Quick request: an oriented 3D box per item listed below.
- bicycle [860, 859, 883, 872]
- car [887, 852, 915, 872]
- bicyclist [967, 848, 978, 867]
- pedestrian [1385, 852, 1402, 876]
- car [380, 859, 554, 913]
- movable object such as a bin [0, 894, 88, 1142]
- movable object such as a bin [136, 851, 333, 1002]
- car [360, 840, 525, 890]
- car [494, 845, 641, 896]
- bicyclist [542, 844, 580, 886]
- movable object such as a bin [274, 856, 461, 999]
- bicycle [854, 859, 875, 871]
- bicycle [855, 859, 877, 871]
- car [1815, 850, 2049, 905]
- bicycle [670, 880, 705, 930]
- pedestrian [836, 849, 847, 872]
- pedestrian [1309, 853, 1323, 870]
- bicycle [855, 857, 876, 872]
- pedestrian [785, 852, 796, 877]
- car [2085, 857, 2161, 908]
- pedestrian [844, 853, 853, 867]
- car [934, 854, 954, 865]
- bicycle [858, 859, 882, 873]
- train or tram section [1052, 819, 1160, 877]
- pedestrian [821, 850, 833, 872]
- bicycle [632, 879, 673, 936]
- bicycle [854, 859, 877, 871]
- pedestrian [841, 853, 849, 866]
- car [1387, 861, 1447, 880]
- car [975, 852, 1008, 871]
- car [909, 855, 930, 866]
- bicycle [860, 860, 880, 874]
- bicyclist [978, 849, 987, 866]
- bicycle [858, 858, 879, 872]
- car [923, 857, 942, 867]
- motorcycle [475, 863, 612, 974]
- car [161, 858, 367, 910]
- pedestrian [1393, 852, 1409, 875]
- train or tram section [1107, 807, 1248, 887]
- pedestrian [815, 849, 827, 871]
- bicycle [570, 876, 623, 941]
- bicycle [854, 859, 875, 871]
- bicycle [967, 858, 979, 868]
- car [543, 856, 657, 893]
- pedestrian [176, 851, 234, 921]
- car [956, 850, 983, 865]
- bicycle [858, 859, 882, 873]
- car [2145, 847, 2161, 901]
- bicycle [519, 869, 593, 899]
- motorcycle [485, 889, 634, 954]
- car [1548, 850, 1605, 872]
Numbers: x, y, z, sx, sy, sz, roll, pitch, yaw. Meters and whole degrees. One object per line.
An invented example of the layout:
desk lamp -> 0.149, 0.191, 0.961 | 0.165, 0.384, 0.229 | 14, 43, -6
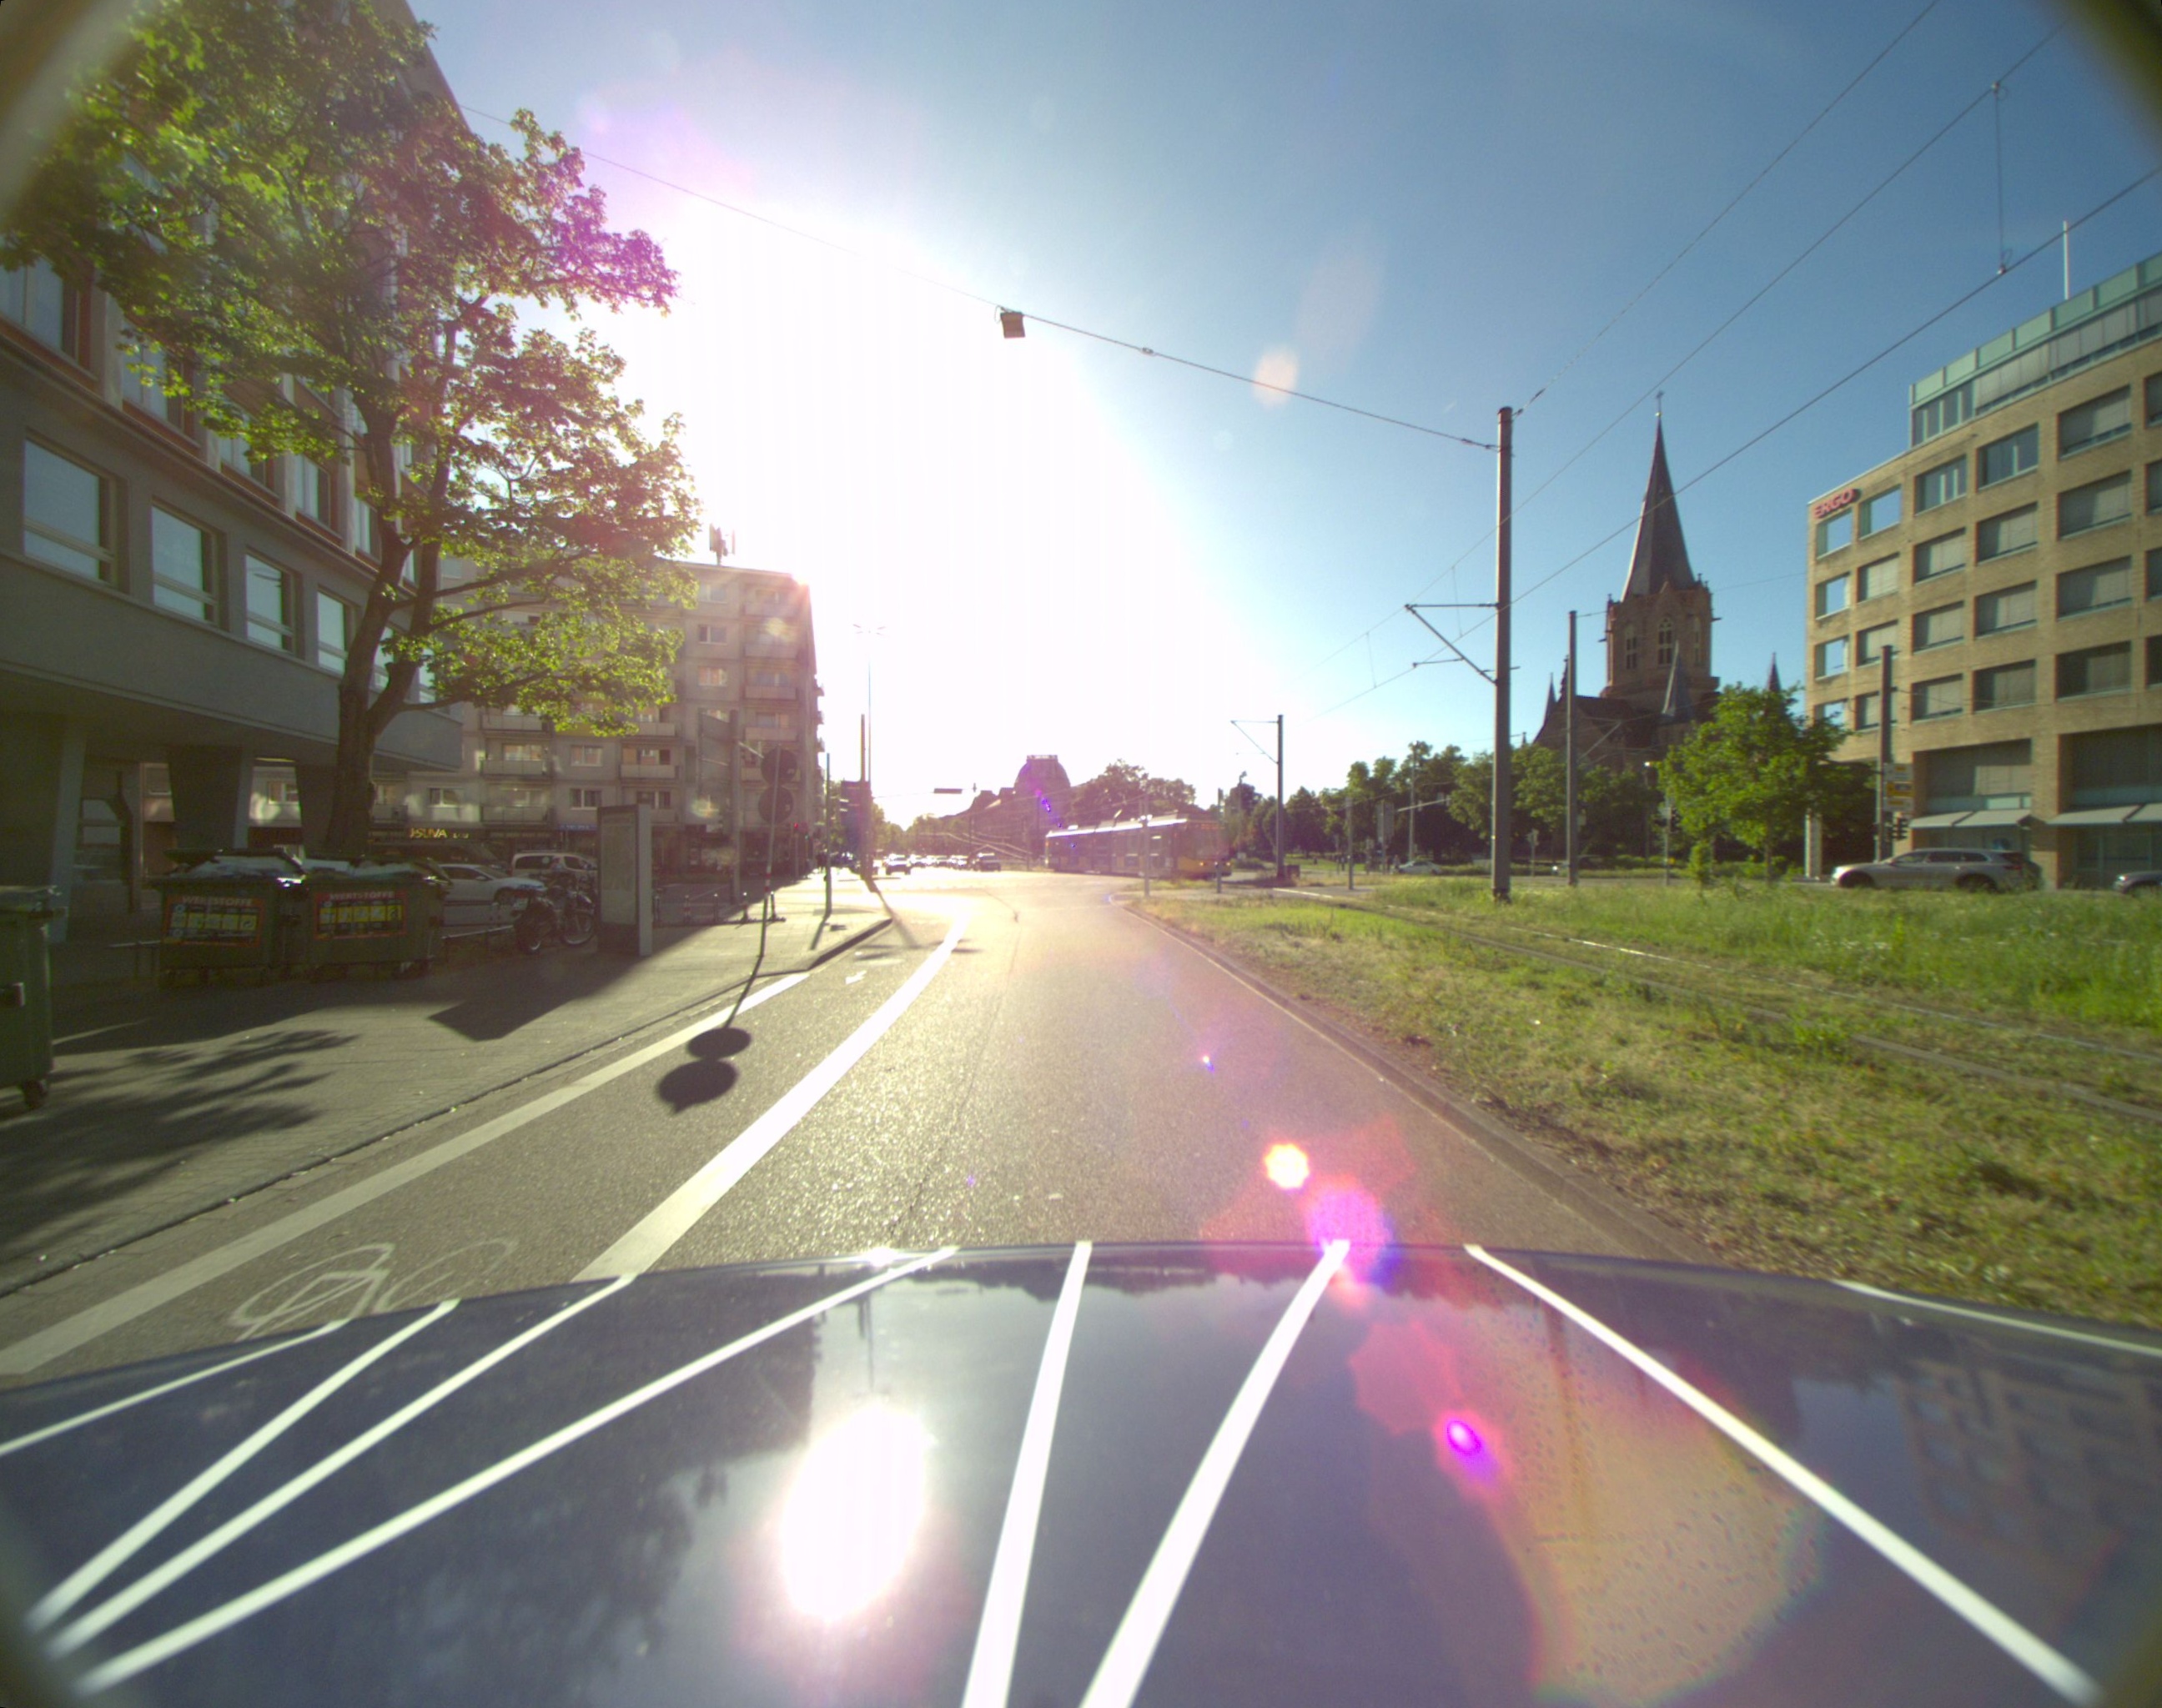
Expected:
bicycle -> -16.470, 0.927, 59.709 | 1.707, 1.005, 0.410 | 1, 1, -22
car -> -15.527, 0.658, 65.430 | 1.904, 1.677, 4.111 | -1, 0, -19
bicyclist -> -10.435, 0.343, 73.068 | 0.705, 1.720, 0.852 | -3, 2, -24
pedestrian -> 27.111, 0.856, 65.925 | 0.880, 2.002, 0.924 | -2, 2, -18
car -> -20.877, 1.052, 26.063 | 4.167, 1.494, 1.841 | -2, 3, -20
movable object such as a bin -> -6.808, 0.968, 4.214 | 1.283, 1.383, 0.921 | -2, 2, 0
movable object such as a bin -> -10.219, 0.825, 9.252 | 1.261, 1.699, 0.943 | 0, 2, -19
car -> -29.100, 0.460, 34.848 | 5.257, 2.186, 2.374 | 0, 0, -14
car -> -20.970, 0.632, 31.273 | 4.605, 1.840, 1.943 | -2, 2, -19
bicyclist -> -19.988, 0.407, 29.207 | 0.936, 1.551, 0.940 | -2, 2, -20
movable object such as a bin -> -8.924, 0.866, 9.599 | 1.386, 1.630, 1.006 | -1, 1, -19
bicycle -> -19.125, 0.947, 67.135 | 1.826, 1.054, 0.414 | 0, 1, -22
bicycle -> -18.930, 0.979, 66.784 | 1.826, 1.054, 0.414 | -1, 1, -23
car -> 29.678, 0.751, 26.780 | 2.108, 1.724, 5.077 | -1, 0, -20
bicycle -> -9.012, 1.130, 17.449 | 0.477, 0.979, 2.116 | -2, 2, -22
pedestrian -> -18.883, 0.531, 59.865 | 0.792, 1.767, 0.873 | -1, 1, -19
pedestrian -> 25.428, 0.786, 82.172 | 0.846, 1.836, 1.113 | -2, 2, -21
bicycle -> -18.820, 0.911, 66.381 | 1.785, 1.222, 0.414 | 0, 1, -23
pedestrian -> -20.672, 0.773, 54.109 | 0.569, 1.763, 0.663 | -1, 1, -11
car -> 38.593, 1.021, 25.684 | 2.126, 1.659, 5.202 | -2, 1, -19
pedestrian -> -31.520, 0.784, 102.984 | 0.868, 1.873, 1.219 | -1, 1, -35
car -> -17.007, 0.635, 94.410 | 1.861, 1.284, 4.088 | -1, 0, -19
bicycle -> -16.767, 0.937, 60.374 | 1.758, 1.070, 0.405 | -2, 2, -21
train or tram section -> 1.371, -0.370, 53.787 | 2.961, 3.591, 13.612 | -1, 0, -19
pedestrian -> -21.770, 0.561, 65.143 | 0.792, 1.875, 0.874 | -1, 1, -11
bicycle -> -9.686, 1.180, 17.226 | 0.477, 1.110, 2.116 | -2, 2, -22
bicycle -> -18.419, 0.939, 64.950 | 1.826, 1.063, 0.414 | 0, 2, -23
pedestrian -> -30.221, 0.695, 97.211 | 0.773, 1.641, 0.671 | -1, 1, -7
car -> 30.677, 1.488, 69.522 | 4.708, 1.565, 1.769 | -2, 2, 5
car -> -8.116, 0.666, 68.703 | 2.001, 1.528, 4.349 | -2, 1, -19
car -> -19.856, 0.740, 93.114 | 1.990, 1.284, 4.386 | -1, 0, -19
bicycle -> -16.277, 1.007, 58.655 | 1.435, 1.005, 0.410 | 1, 1, -17
bicyclist -> -9.513, 0.345, 73.404 | 0.695, 1.650, 0.918 | -2, 2, -19
bicycle -> -17.371, 0.889, 62.117 | 1.645, 1.105, 0.530 | 2, 0, -21
car -> -20.060, 1.012, 102.433 | 1.990, 1.284, 4.319 | -1, 0, -19
motorcycle -> -8.512, 0.940, 12.213 | 0.805, 1.531, 2.542 | -2, 1, -12
car -> -25.958, 0.915, 24.324 | 4.167, 1.419, 1.573 | -1, 3, -20
pedestrian -> 27.945, 0.818, 66.307 | 0.880, 2.002, 0.924 | -2, 2, -18
train or tram section -> 4.709, -0.318, 41.615 | 2.960, 3.664, 13.167 | -1, 0, -14
pedestrian -> -21.347, 0.486, 62.392 | 0.867, 1.824, 1.209 | -1, 1, -19
bicycle -> -10.458, 1.139, 16.452 | 0.534, 1.237, 1.844 | -2, 2, -20
bicycle -> -19.247, 0.941, 67.548 | 1.826, 1.054, 0.414 | 0, 1, -23
bicycle -> -10.428, 0.848, 73.100 | 0.632, 0.934, 1.902 | -2, 2, -24
car -> -21.769, 0.892, 34.566 | 4.003, 1.432, 1.845 | -2, 2, -20
pedestrian -> -23.043, 0.825, 20.007 | 0.897, 1.769, 0.859 | 0, 2, 45
car -> -11.565, 0.382, 78.389 | 2.001, 1.421, 4.125 | -2, 1, -19
bicycle -> -16.879, 0.951, 60.778 | 1.757, 1.094, 0.398 | 0, 1, -21
car -> 31.993, 0.564, 19.755 | 2.002, 1.508, 4.653 | -2, 1, -20
bicycle -> -20.110, 1.125, 29.180 | 2.150, 0.995, 0.859 | -2, 2, -20
motorcycle -> -9.544, 1.215, 14.005 | 2.104, 1.016, 0.761 | -2, 1, -17
car -> 40.564, 0.570, 62.238 | 3.945, 1.565, 1.835 | -2, 2, -17
